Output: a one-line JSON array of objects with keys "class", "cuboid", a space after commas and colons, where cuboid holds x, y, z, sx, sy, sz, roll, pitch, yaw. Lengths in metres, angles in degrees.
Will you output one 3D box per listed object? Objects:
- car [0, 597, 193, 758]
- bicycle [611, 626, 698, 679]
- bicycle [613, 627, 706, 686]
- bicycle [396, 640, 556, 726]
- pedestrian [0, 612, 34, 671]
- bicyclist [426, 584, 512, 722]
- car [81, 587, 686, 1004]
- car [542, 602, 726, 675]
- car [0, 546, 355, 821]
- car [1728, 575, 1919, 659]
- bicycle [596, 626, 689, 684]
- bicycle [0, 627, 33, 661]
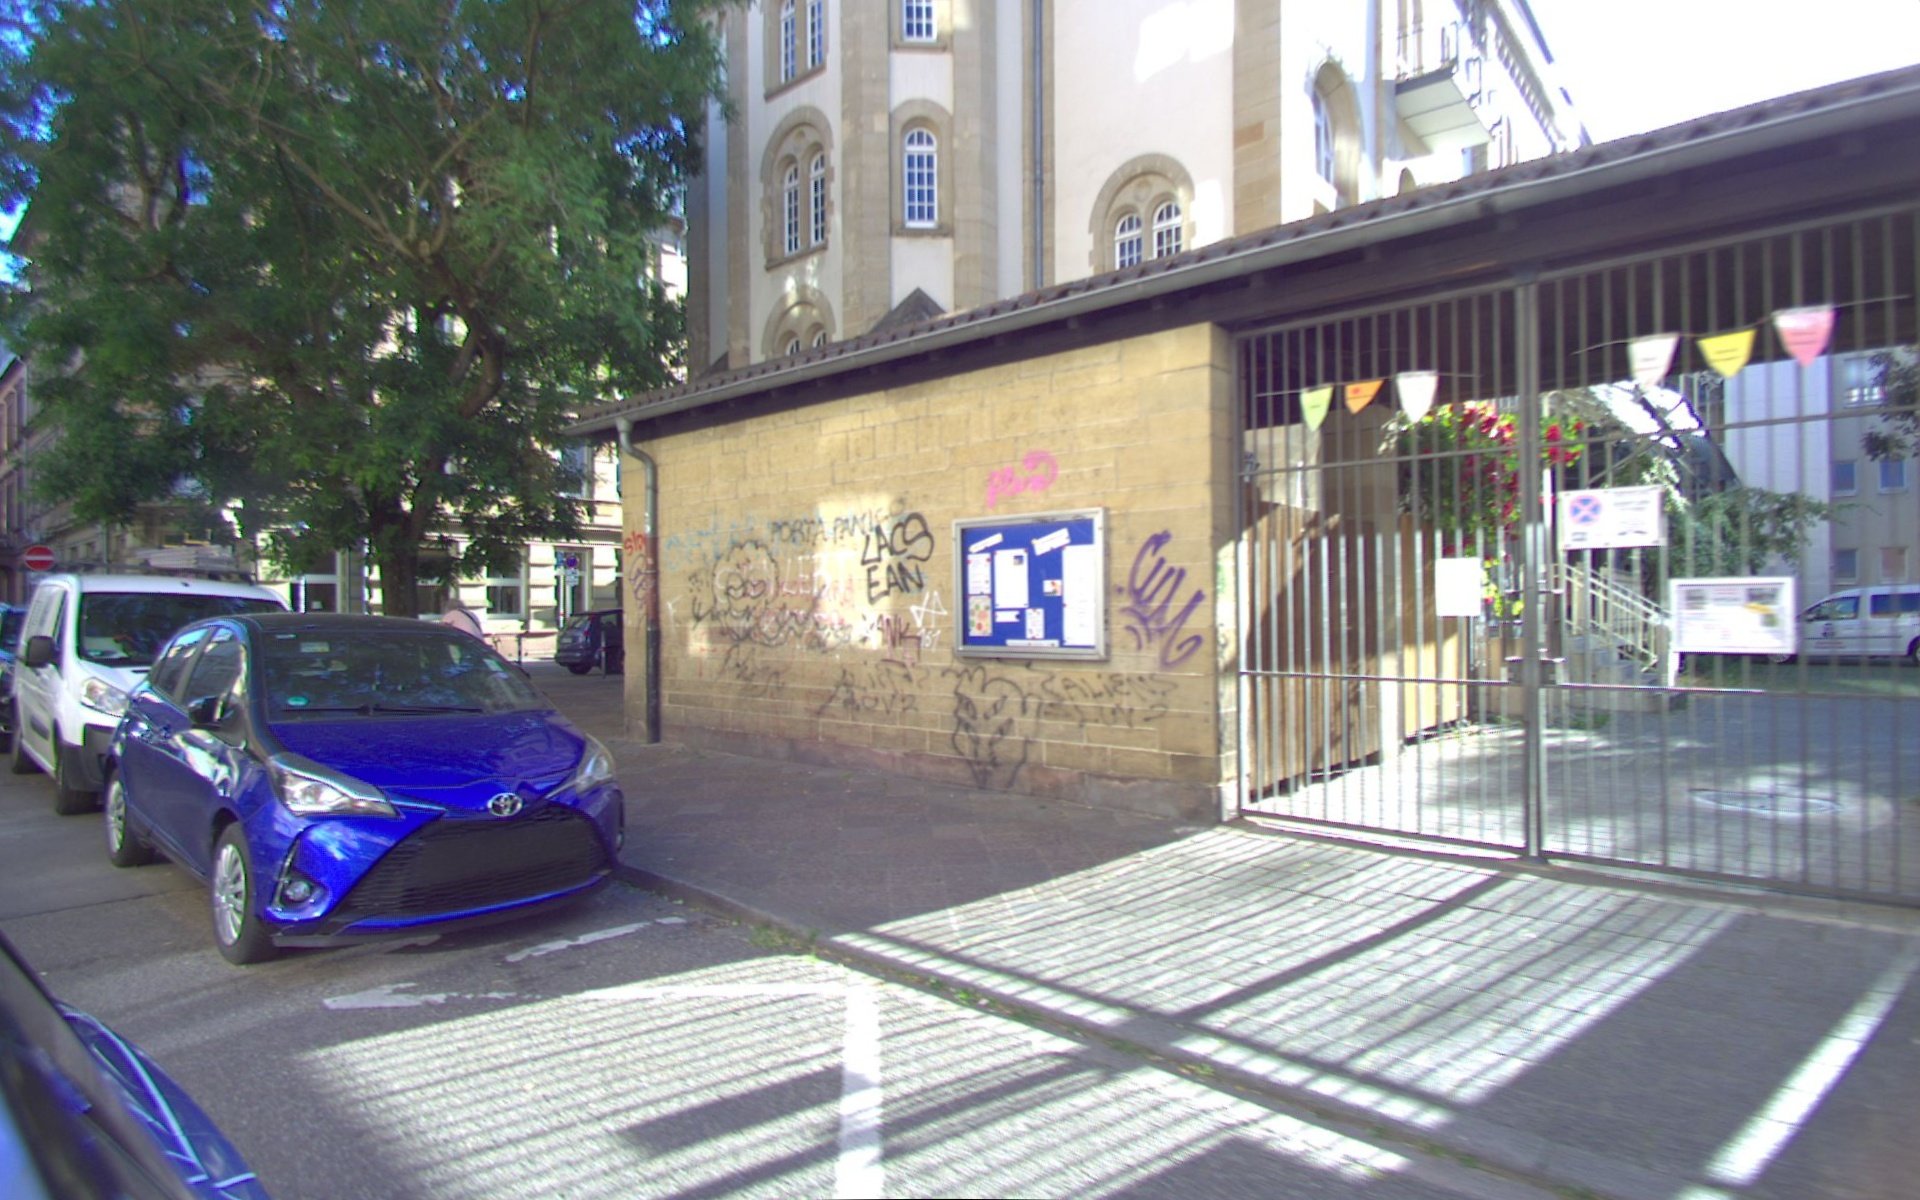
[{"class": "car", "cuboid": [-11.073, 0.836, 12.394, 4.284, 1.659, 1.723, -1, -1, 39]}, {"class": "bicycle", "cuboid": [-6.433, 1.091, 21.365, 0.533, 1.062, 1.757, -2, -2, 40]}, {"class": "bicycle", "cuboid": [-5.801, 1.073, 19.641, 0.478, 1.062, 1.757, -2, -2, 40]}, {"class": "bicycle", "cuboid": [-6.431, 1.073, 13.490, 1.740, 0.930, 0.828, -4, 1, -41]}, {"class": "pedestrian", "cuboid": [-26.185, 1.147, 28.048, 0.759, 1.592, 0.660, -1, 0, 40]}, {"class": "bicyclist", "cuboid": [-6.516, 0.672, 13.421, 0.795, 1.736, 0.693, -4, 2, -41]}, {"class": "car", "cuboid": [-3.337, 0.763, 5.545, 3.858, 1.488, 1.670, -1, -3, 41]}, {"class": "car", "cuboid": [-7.930, 0.915, 24.839, 1.769, 1.610, 3.946, -4, -2, 40]}, {"class": "car", "cuboid": [-7.208, 0.623, 9.111, 4.464, 1.876, 1.826, -2, -2, 42]}, {"class": "car", "cuboid": [20.569, 0.383, 23.375, 1.941, 1.817, 4.251, 0, -1, -45]}, {"class": "bicycle", "cuboid": [-6.264, 1.068, 20.051, 0.533, 1.062, 1.757, -2, -2, 40]}, {"class": "bicycle", "cuboid": [-32.784, 1.518, 35.139, 1.784, 1.133, 0.660, -2, 1, 42]}]
